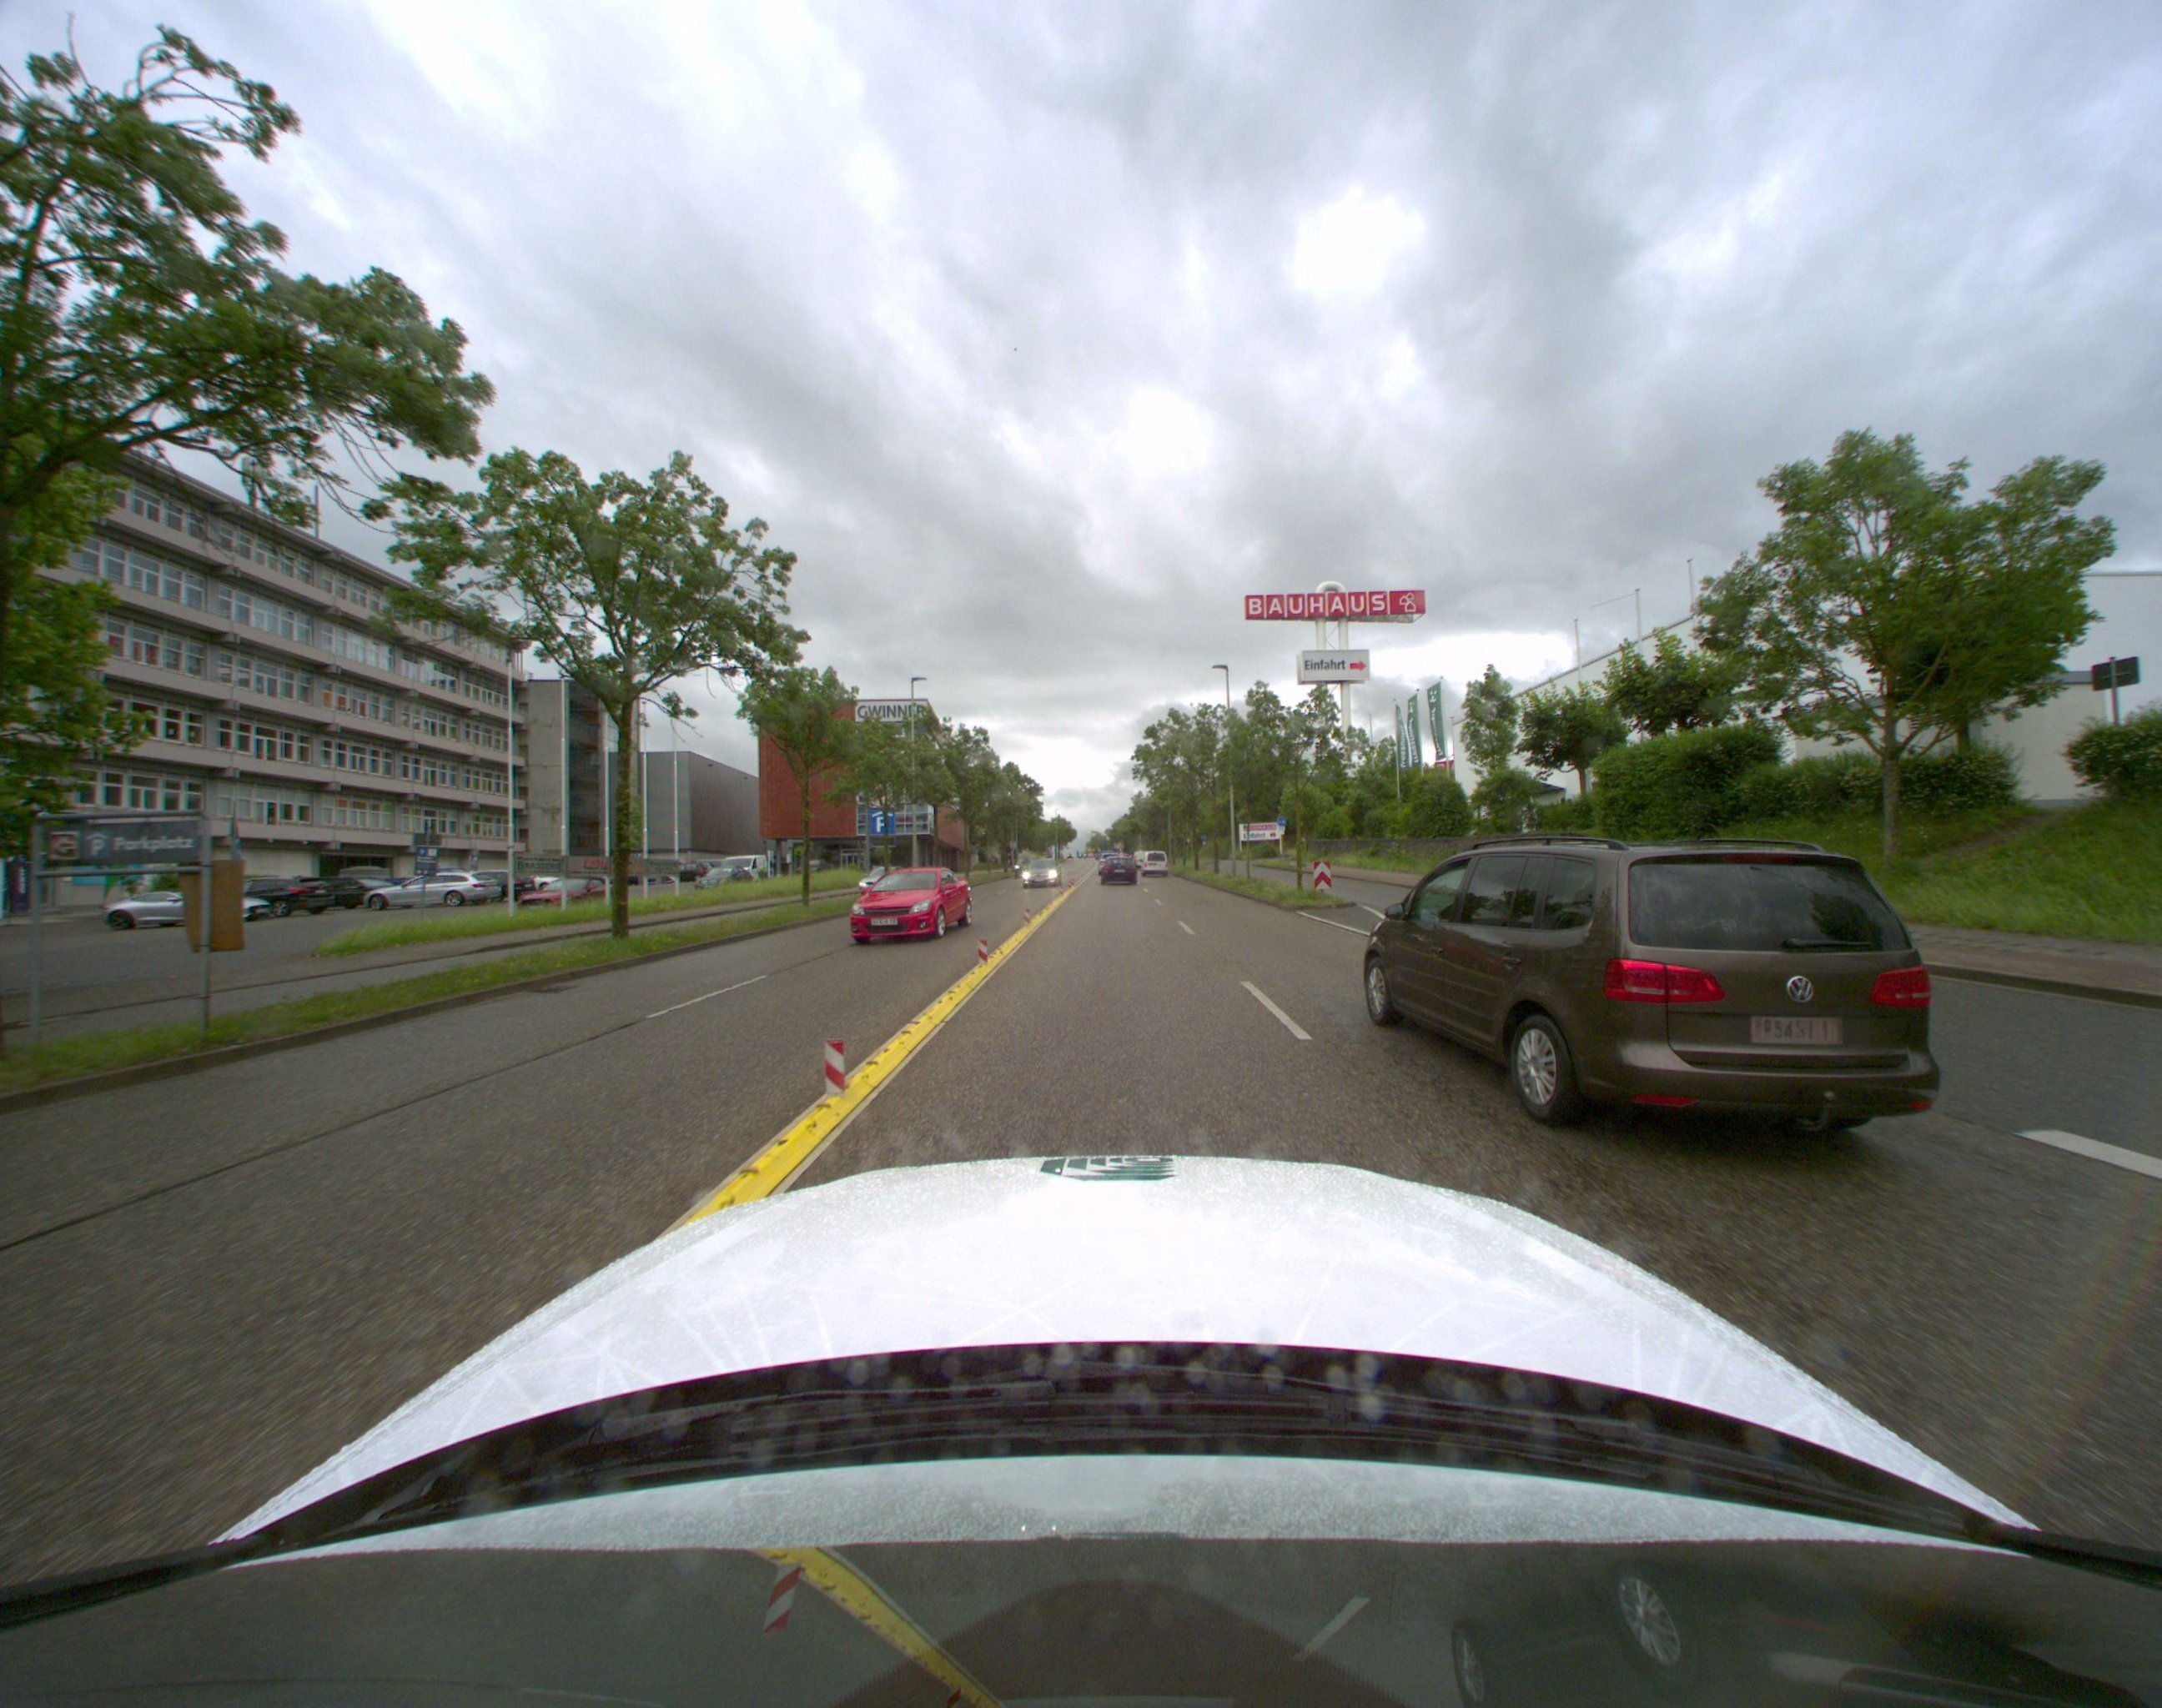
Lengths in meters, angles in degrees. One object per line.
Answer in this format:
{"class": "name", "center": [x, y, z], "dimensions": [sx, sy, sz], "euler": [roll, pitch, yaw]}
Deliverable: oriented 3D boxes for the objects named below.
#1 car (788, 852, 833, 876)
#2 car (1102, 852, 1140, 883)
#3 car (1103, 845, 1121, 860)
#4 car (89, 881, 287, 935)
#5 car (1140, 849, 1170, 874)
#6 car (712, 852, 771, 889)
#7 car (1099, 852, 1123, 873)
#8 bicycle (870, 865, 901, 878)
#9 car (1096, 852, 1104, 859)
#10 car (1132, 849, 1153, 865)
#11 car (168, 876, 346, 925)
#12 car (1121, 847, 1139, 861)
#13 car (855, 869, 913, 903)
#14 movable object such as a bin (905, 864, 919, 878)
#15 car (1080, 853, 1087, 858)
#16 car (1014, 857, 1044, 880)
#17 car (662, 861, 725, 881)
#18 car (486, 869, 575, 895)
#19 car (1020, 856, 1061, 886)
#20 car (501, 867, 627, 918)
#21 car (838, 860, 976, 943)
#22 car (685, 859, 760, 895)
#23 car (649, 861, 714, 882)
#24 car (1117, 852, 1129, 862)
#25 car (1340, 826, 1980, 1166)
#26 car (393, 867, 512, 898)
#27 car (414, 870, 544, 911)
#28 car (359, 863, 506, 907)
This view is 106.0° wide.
{"class": "car", "center": [-21.771, 0.799, 65.728], "dimensions": [2.131, 1.773, 4.607], "euler": [0, 1, -1]}
{"class": "car", "center": [2.087, 0.671, 42.721], "dimensions": [1.820, 1.468, 4.002], "euler": [-2, 0, 2]}
{"class": "car", "center": [3.239, -0.160, 85.892], "dimensions": [1.787, 1.510, 4.001], "euler": [0, -1, 2]}
{"class": "car", "center": [-32.612, 1.934, 29.899], "dimensions": [4.599, 1.745, 1.960], "euler": [0, 1, -10]}
{"class": "car", "center": [5.213, 0.506, 57.920], "dimensions": [1.821, 1.759, 4.001], "euler": [0, 0, 1]}
{"class": "car", "center": [-21.097, 0.946, 50.830], "dimensions": [2.112, 2.096, 5.109], "euler": [0, 1, -7]}
{"class": "car", "center": [2.318, 0.648, 62.653], "dimensions": [1.787, 1.510, 4.001], "euler": [0, -1, 2]}
{"class": "bicycle", "center": [-15.379, 1.352, 63.995], "dimensions": [2.067, 0.935, 1.095], "euler": [3, -1, 5]}
{"class": "car", "center": [4.249, 0.311, 186.302], "dimensions": [1.788, 1.510, 3.999], "euler": [1, -1, 0]}
{"class": "car", "center": [6.142, 0.341, 81.412], "dimensions": [1.788, 1.510, 4.000], "euler": [1, -1, 1]}
{"class": "car", "center": [-33.120, 1.824, 32.883], "dimensions": [4.599, 1.745, 2.126], "euler": [0, 1, -10]}
{"class": "car", "center": [5.670, -0.008, 95.217], "dimensions": [1.789, 1.510, 3.997], "euler": [1, -1, -1]}
{"class": "car", "center": [-10.576, 1.663, 44.146], "dimensions": [1.860, 1.553, 4.576], "euler": [-4, 0, 1]}
{"class": "movable object such as a bin", "center": [-13.462, 1.367, 64.886], "dimensions": [0.816, 1.079, 1.086], "euler": [2, 0, 2]}
{"class": "car", "center": [0.658, 0.461, 227.095], "dimensions": [1.789, 1.510, 3.997], "euler": [1, -1, -1]}
{"class": "car", "center": [-4.050, 1.109, 63.981], "dimensions": [1.780, 1.614, 4.438], "euler": [-4, 0, 2]}
{"class": "car", "center": [-30.892, 1.355, 65.011], "dimensions": [4.105, 1.510, 1.815], "euler": [0, 1, -7]}
{"class": "car", "center": [-34.933, 1.787, 51.751], "dimensions": [4.271, 1.510, 1.843], "euler": [0, 1, -7]}
{"class": "car", "center": [-2.039, 0.847, 42.384], "dimensions": [1.660, 1.410, 4.380], "euler": [-4, -1, 2]}
{"class": "car", "center": [-19.256, 1.370, 30.644], "dimensions": [1.929, 1.608, 4.706], "euler": [0, 1, -4]}
{"class": "car", "center": [-3.501, 0.898, 17.219], "dimensions": [1.754, 1.425, 4.184], "euler": [-2, 0, 3]}
{"class": "car", "center": [-19.762, 1.226, 45.142], "dimensions": [2.034, 1.762, 4.943], "euler": [0, 1, -2]}
{"class": "car", "center": [-30.693, 1.355, 62.668], "dimensions": [4.105, 1.510, 1.815], "euler": [0, 1, -7]}
{"class": "car", "center": [6.862, 0.503, 133.375], "dimensions": [1.789, 1.510, 3.997], "euler": [1, -1, -1]}
{"class": "car", "center": [3.373, 0.669, 5.909], "dimensions": [1.680, 1.581, 4.218], "euler": [0, 0, 0]}
{"class": "car", "center": [-33.794, 1.489, 43.902], "dimensions": [4.605, 1.510, 2.020], "euler": [0, 1, -7]}
{"class": "car", "center": [-28.211, 1.669, 38.279], "dimensions": [4.495, 1.745, 1.896], "euler": [0, 1, -7]}
{"class": "car", "center": [-28.081, 1.301, 35.402], "dimensions": [4.594, 1.745, 1.963], "euler": [0, 1, -7]}
